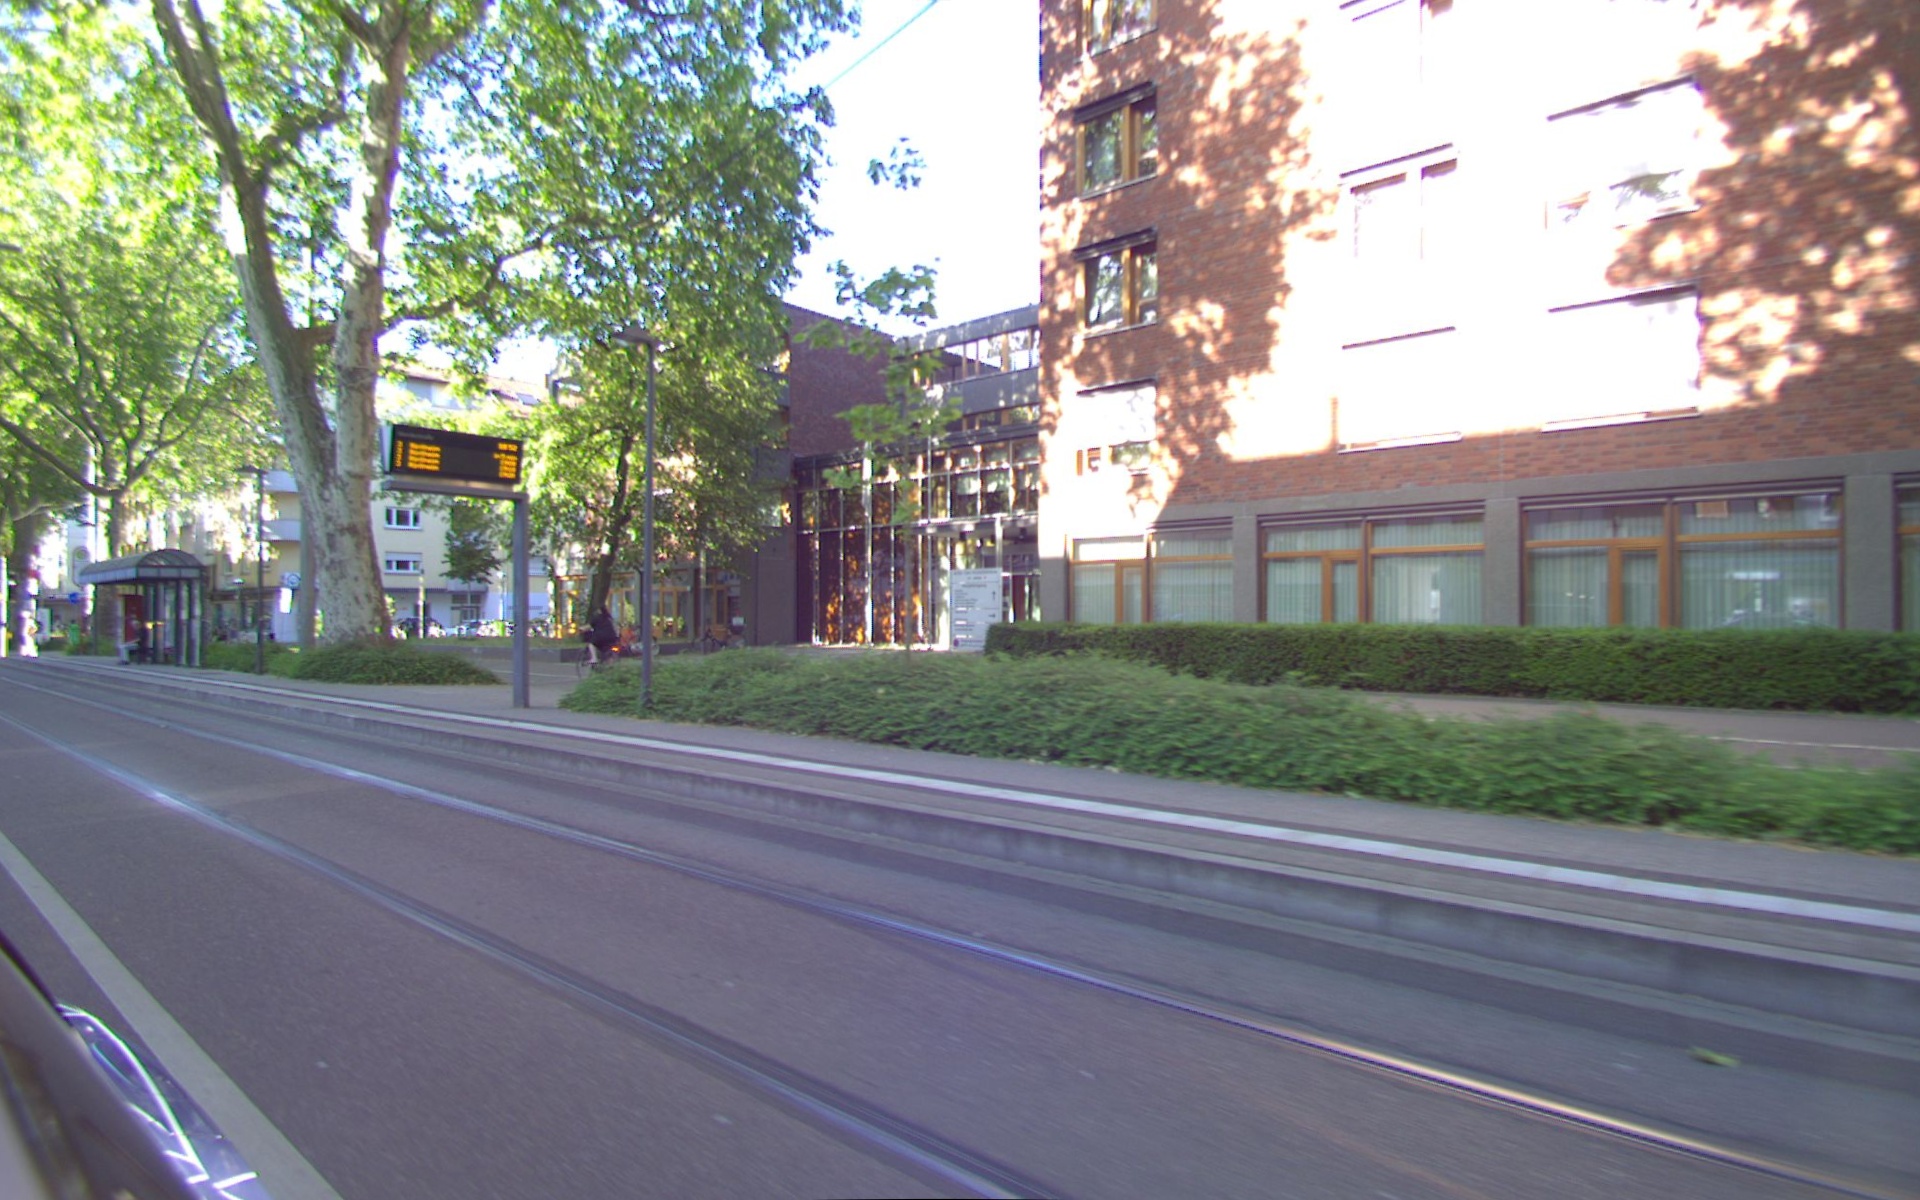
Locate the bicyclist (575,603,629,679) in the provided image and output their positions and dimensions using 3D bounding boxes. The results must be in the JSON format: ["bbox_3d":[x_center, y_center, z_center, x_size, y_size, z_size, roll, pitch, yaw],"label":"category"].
[{"bbox_3d":[-7.464,0.831,21.090,0.892,1.526,0.725,-1,0,44],"label":"bicyclist"}]

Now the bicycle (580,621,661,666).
[{"bbox_3d":[-9.897,1.249,29.517,2.067,1.198,0.883,-1,0,-33],"label":"bicycle"}]

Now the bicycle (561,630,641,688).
[{"bbox_3d":[-7.524,1.207,21.153,2.039,1.102,0.738,-1,0,43],"label":"bicycle"}]

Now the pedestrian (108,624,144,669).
[{"bbox_3d":[-22.775,1.261,27.635,0.473,1.213,0.699,-1,0,42],"label":"pedestrian"}]

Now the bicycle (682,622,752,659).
[{"bbox_3d":[-7.639,1.279,31.875,2.012,1.102,0.821,-1,0,3],"label":"bicycle"}]

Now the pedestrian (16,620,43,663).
[{"bbox_3d":[-36.060,1.593,39.225,0.561,1.606,0.699,-1,0,42],"label":"pedestrian"}]
